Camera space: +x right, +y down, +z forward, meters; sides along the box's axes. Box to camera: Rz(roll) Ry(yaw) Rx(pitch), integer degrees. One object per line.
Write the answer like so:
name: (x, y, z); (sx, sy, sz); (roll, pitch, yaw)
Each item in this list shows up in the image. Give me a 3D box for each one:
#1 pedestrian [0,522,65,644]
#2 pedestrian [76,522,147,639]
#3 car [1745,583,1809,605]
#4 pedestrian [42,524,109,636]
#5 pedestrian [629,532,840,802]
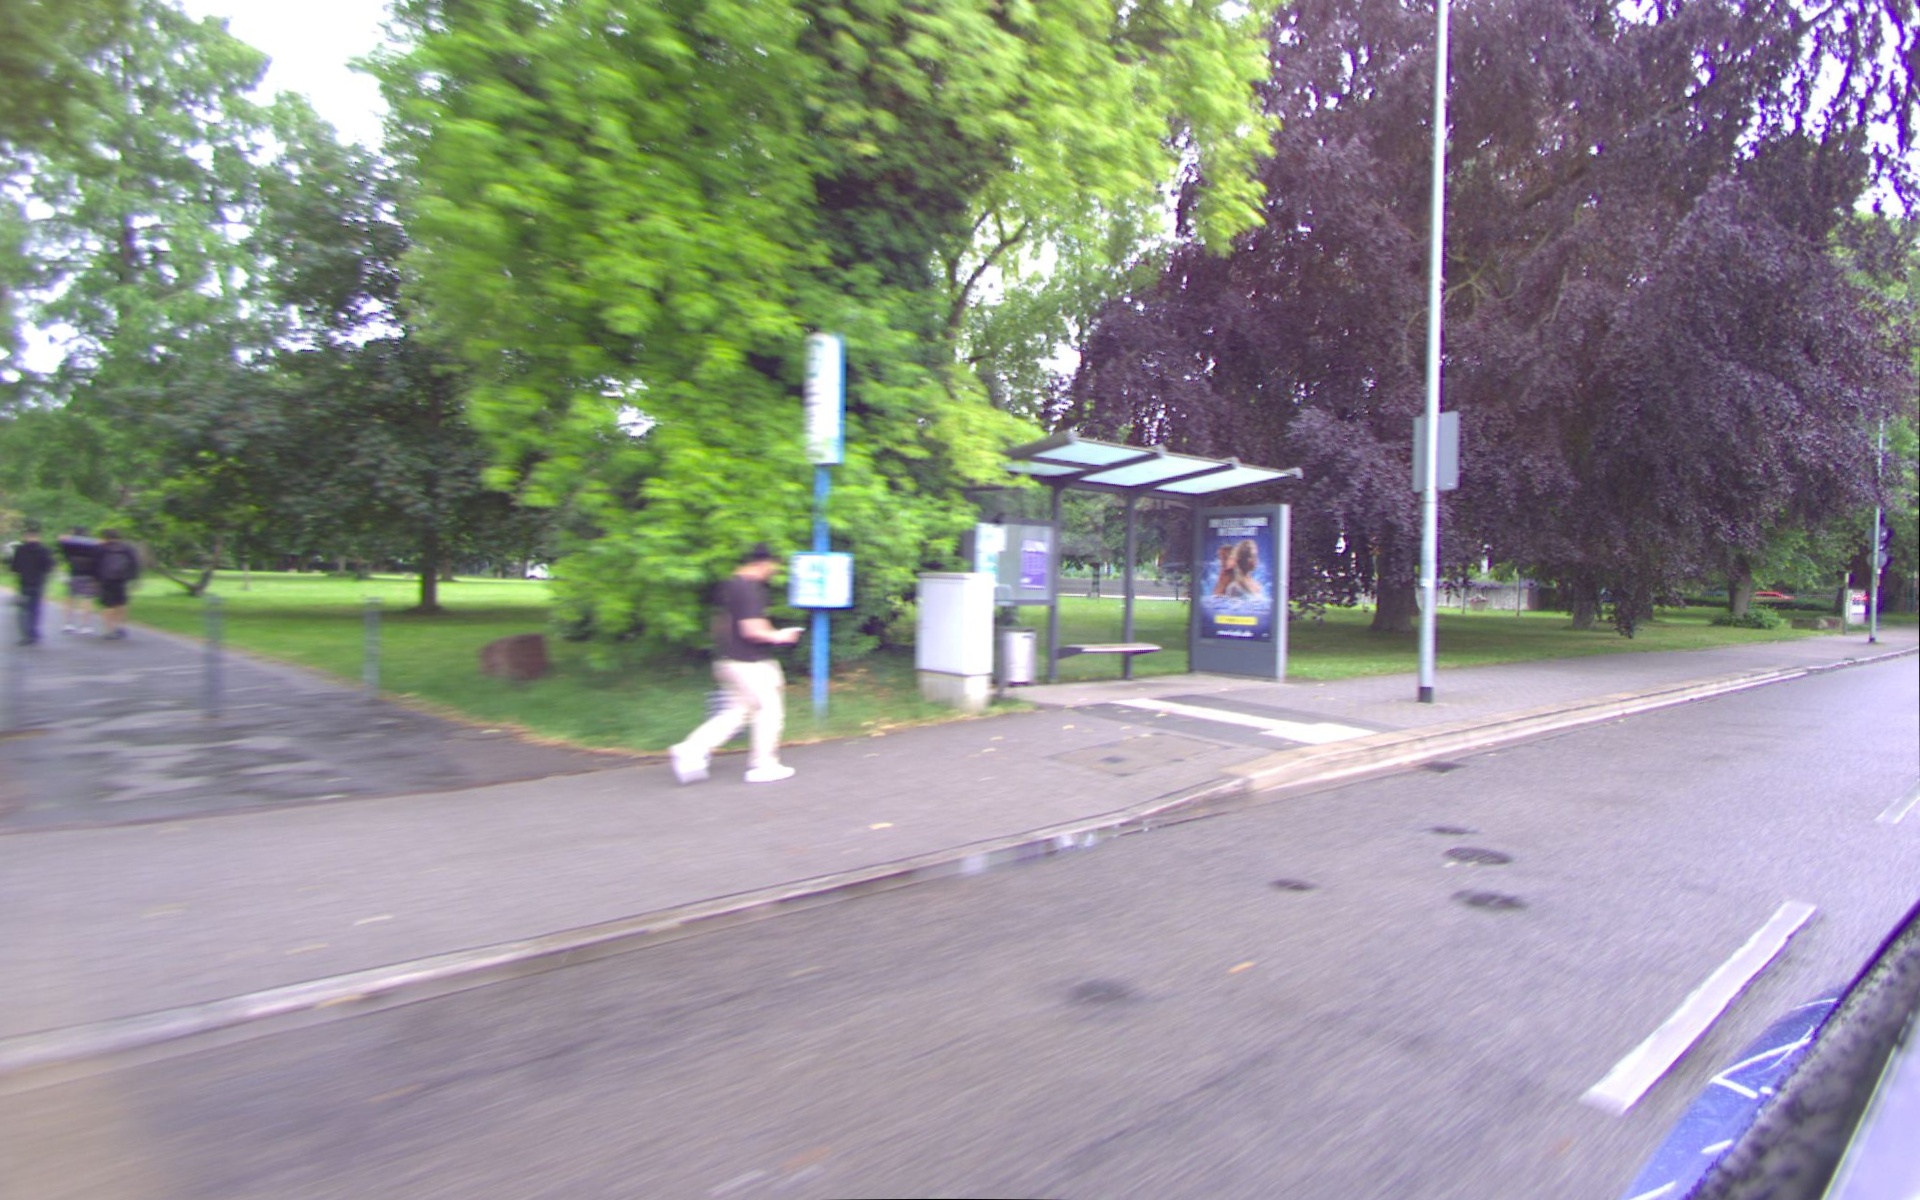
pedestrian: (-14.045, -0.267, 15.244); (1.058, 1.774, 0.769); (2, 2, 45)
pedestrian: (-13.452, -0.311, 16.032); (1.058, 1.774, 0.769); (2, 2, 45)
car: (69.063, -0.530, 85.562); (1.966, 1.737, 3.992); (0, 2, -43)
pedestrian: (-14.684, -0.339, 16.802); (1.058, 1.774, 0.769); (2, 2, 45)
pedestrian: (-1.580, 0.399, 7.095); (1.147, 1.696, 0.849); (0, 4, -41)
